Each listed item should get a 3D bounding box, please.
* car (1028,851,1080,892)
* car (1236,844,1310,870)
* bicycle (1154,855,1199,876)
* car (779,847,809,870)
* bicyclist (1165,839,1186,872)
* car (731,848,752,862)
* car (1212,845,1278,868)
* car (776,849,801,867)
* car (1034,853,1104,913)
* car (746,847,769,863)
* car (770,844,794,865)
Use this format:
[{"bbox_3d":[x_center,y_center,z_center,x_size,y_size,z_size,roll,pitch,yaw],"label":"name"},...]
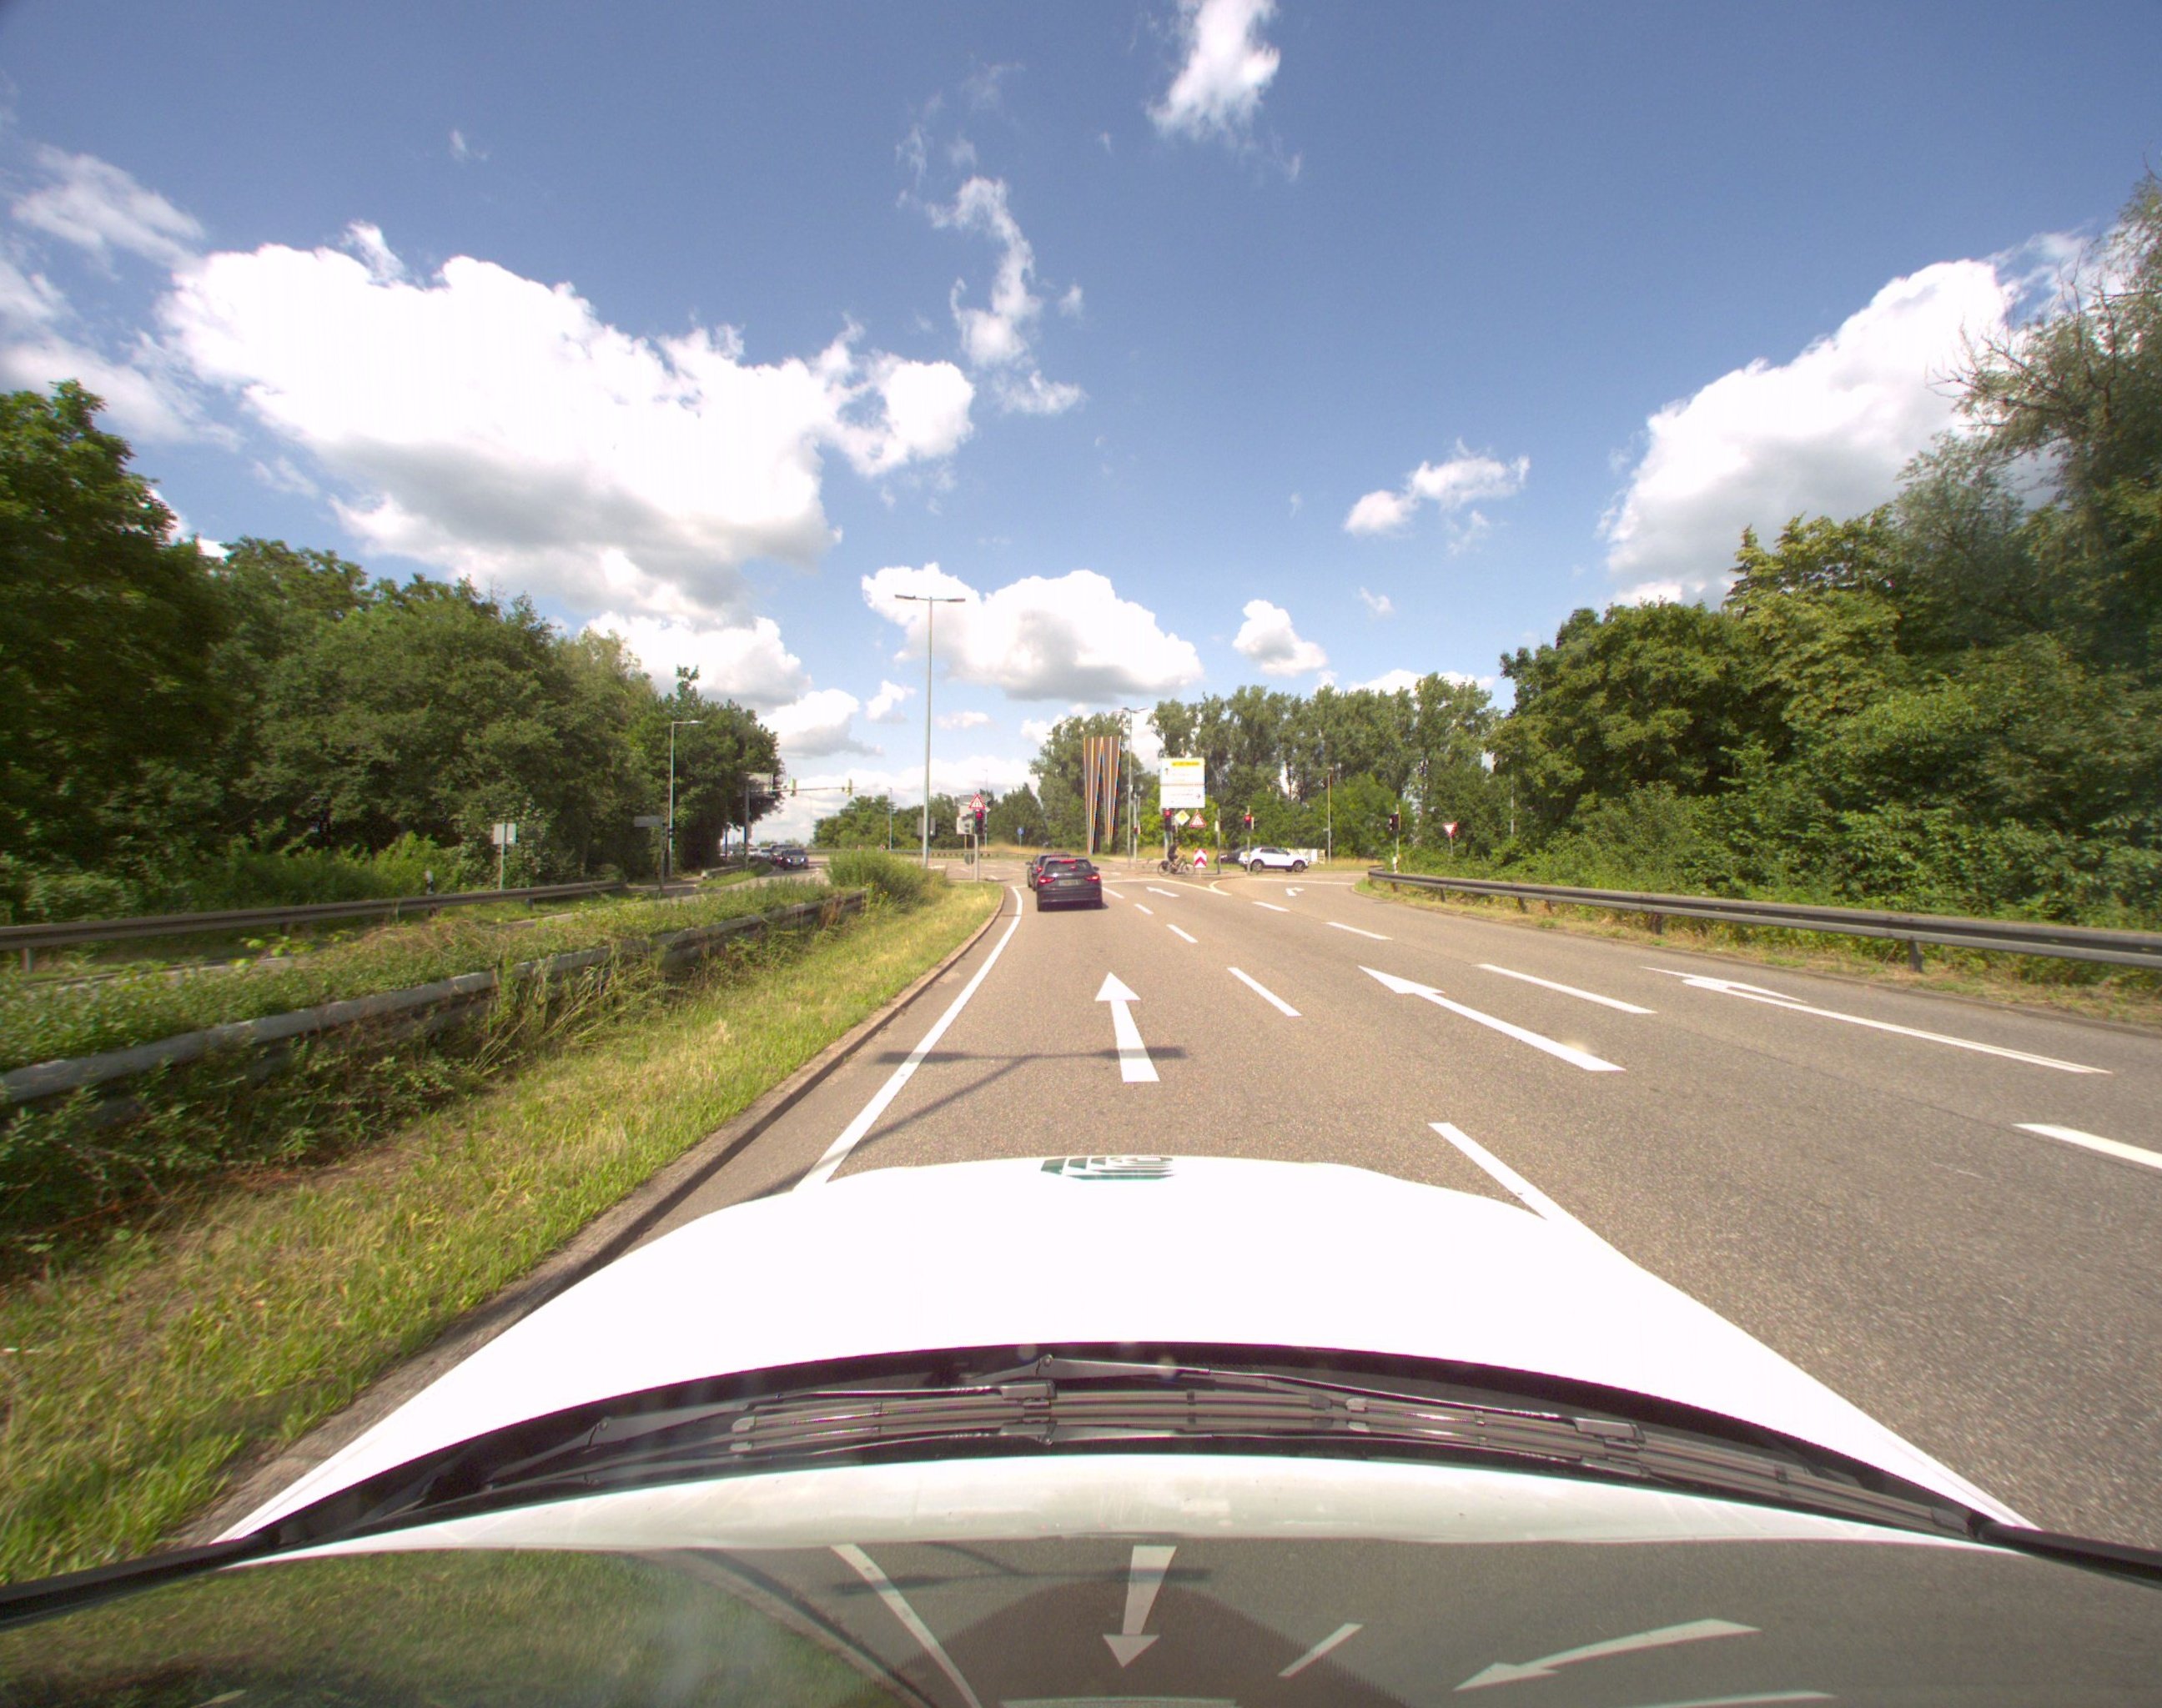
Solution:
[{"bbox_3d":[-1.141,0.634,32.267,1.724,1.423,3.836,-2,1,-6],"label":"car"},{"bbox_3d":[11.637,0.185,49.501,4.027,1.476,1.734,1,0,-5],"label":"car"},{"bbox_3d":[4.609,0.549,39.253,2.055,1.023,0.669,0,0,-14],"label":"bicycle"},{"bbox_3d":[-21.699,0.361,61.496,1.847,1.618,3.969,-1,-1,-23],"label":"car"},{"bbox_3d":[4.560,0.070,39.241,0.835,1.560,0.669,0,0,-14],"label":"bicyclist"},{"bbox_3d":[-41.911,0.144,100.580,1.855,1.705,4.285,-1,0,-30],"label":"car"},{"bbox_3d":[11.513,0.164,57.438,4.259,1.545,1.735,-1,0,-4],"label":"car"},{"bbox_3d":[-24.836,0.302,68.974,1.739,1.476,4.015,-1,0,-23],"label":"car"},{"bbox_3d":[-0.388,0.721,22.559,1.722,1.404,3.996,-2,1,-2],"label":"car"},{"bbox_3d":[-35.263,0.128,88.720,1.854,1.705,4.287,-1,0,-28],"label":"car"},{"bbox_3d":[-27.617,0.050,75.072,1.851,1.802,4.293,-1,0,-23],"label":"car"}]
